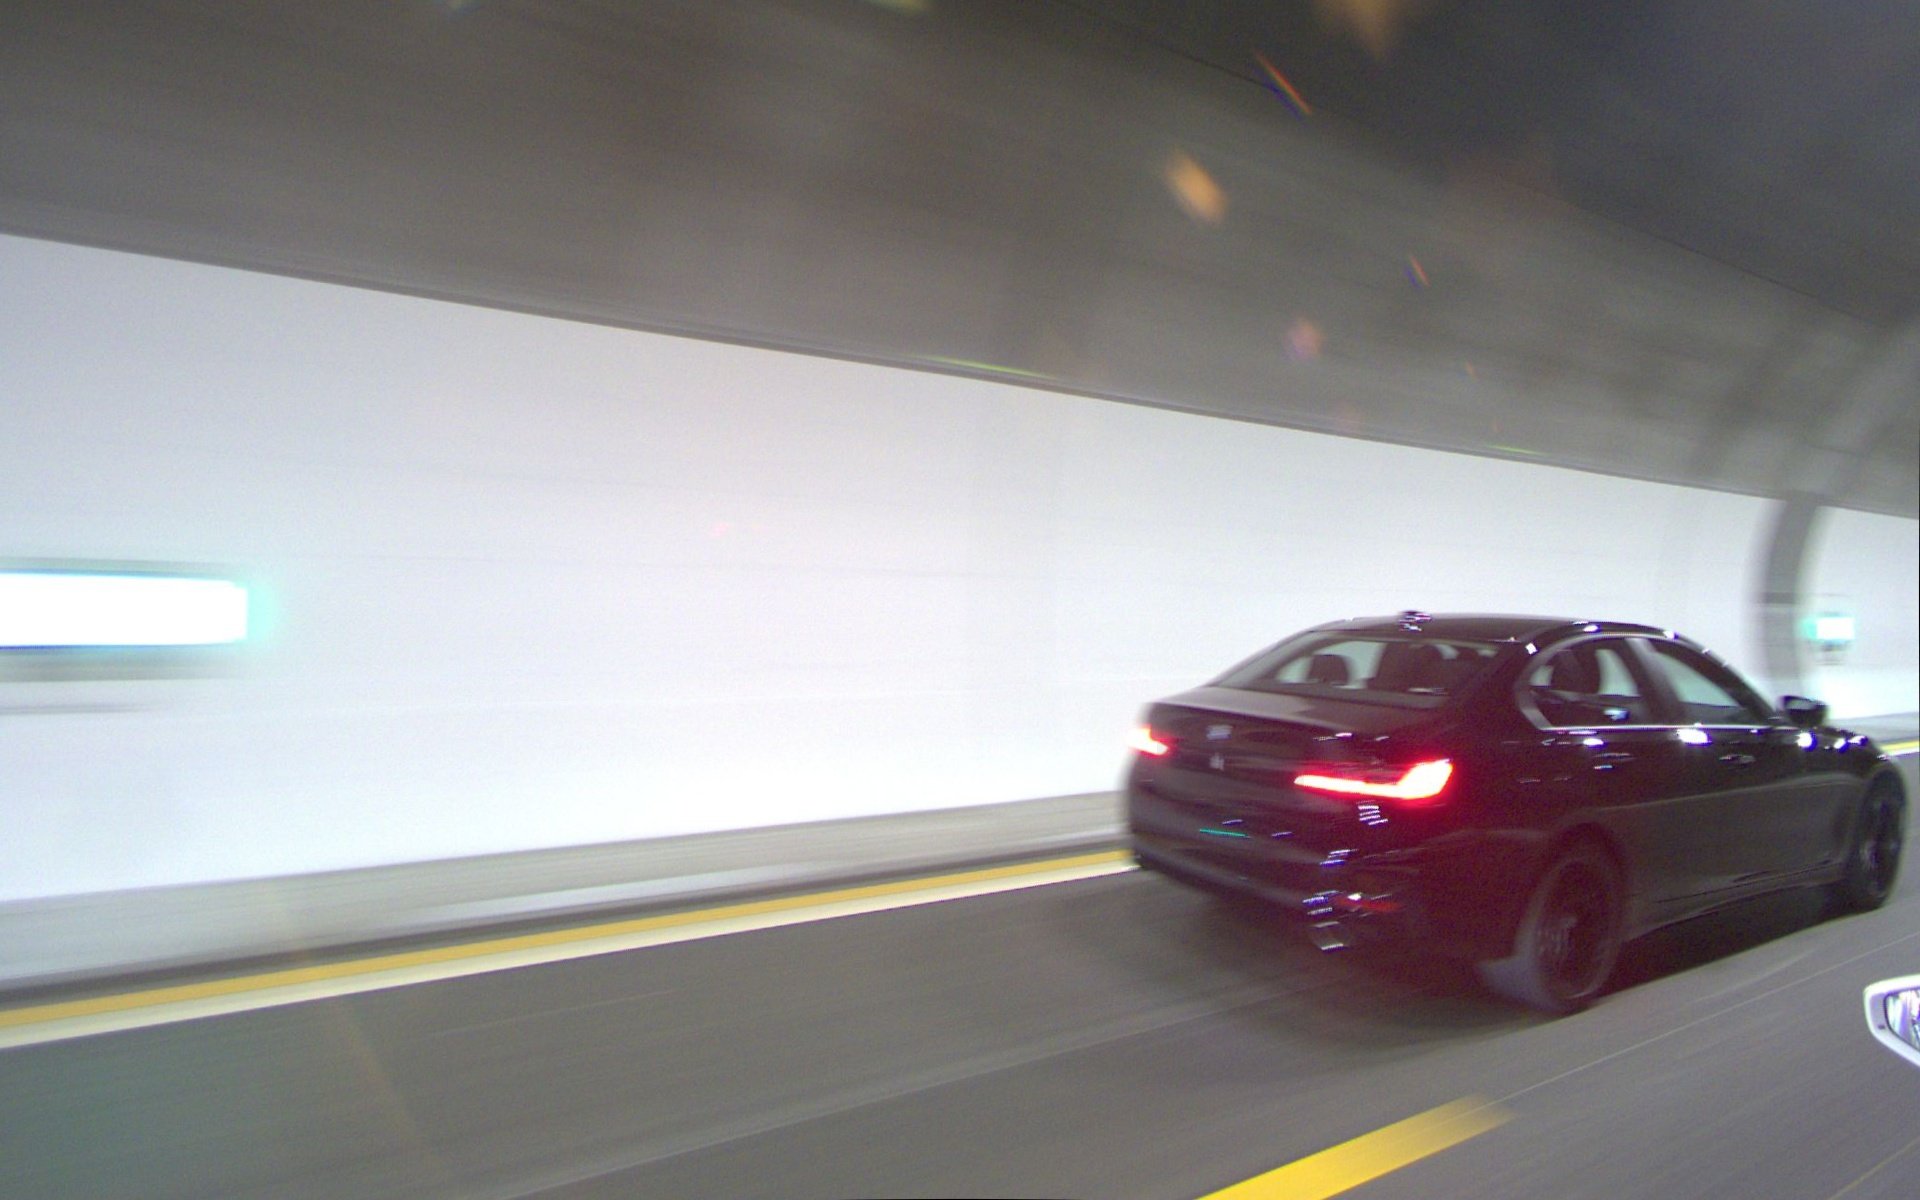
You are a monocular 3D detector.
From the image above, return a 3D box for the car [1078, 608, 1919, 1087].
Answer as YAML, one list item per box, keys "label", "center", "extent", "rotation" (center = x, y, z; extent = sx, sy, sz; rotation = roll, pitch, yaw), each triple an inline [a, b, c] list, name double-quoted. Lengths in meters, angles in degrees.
- label: "car"
  center: [3.067, 0.809, 5.097]
  extent: [4.825, 1.457, 1.769]
  rotation: [1, 0, -30]
